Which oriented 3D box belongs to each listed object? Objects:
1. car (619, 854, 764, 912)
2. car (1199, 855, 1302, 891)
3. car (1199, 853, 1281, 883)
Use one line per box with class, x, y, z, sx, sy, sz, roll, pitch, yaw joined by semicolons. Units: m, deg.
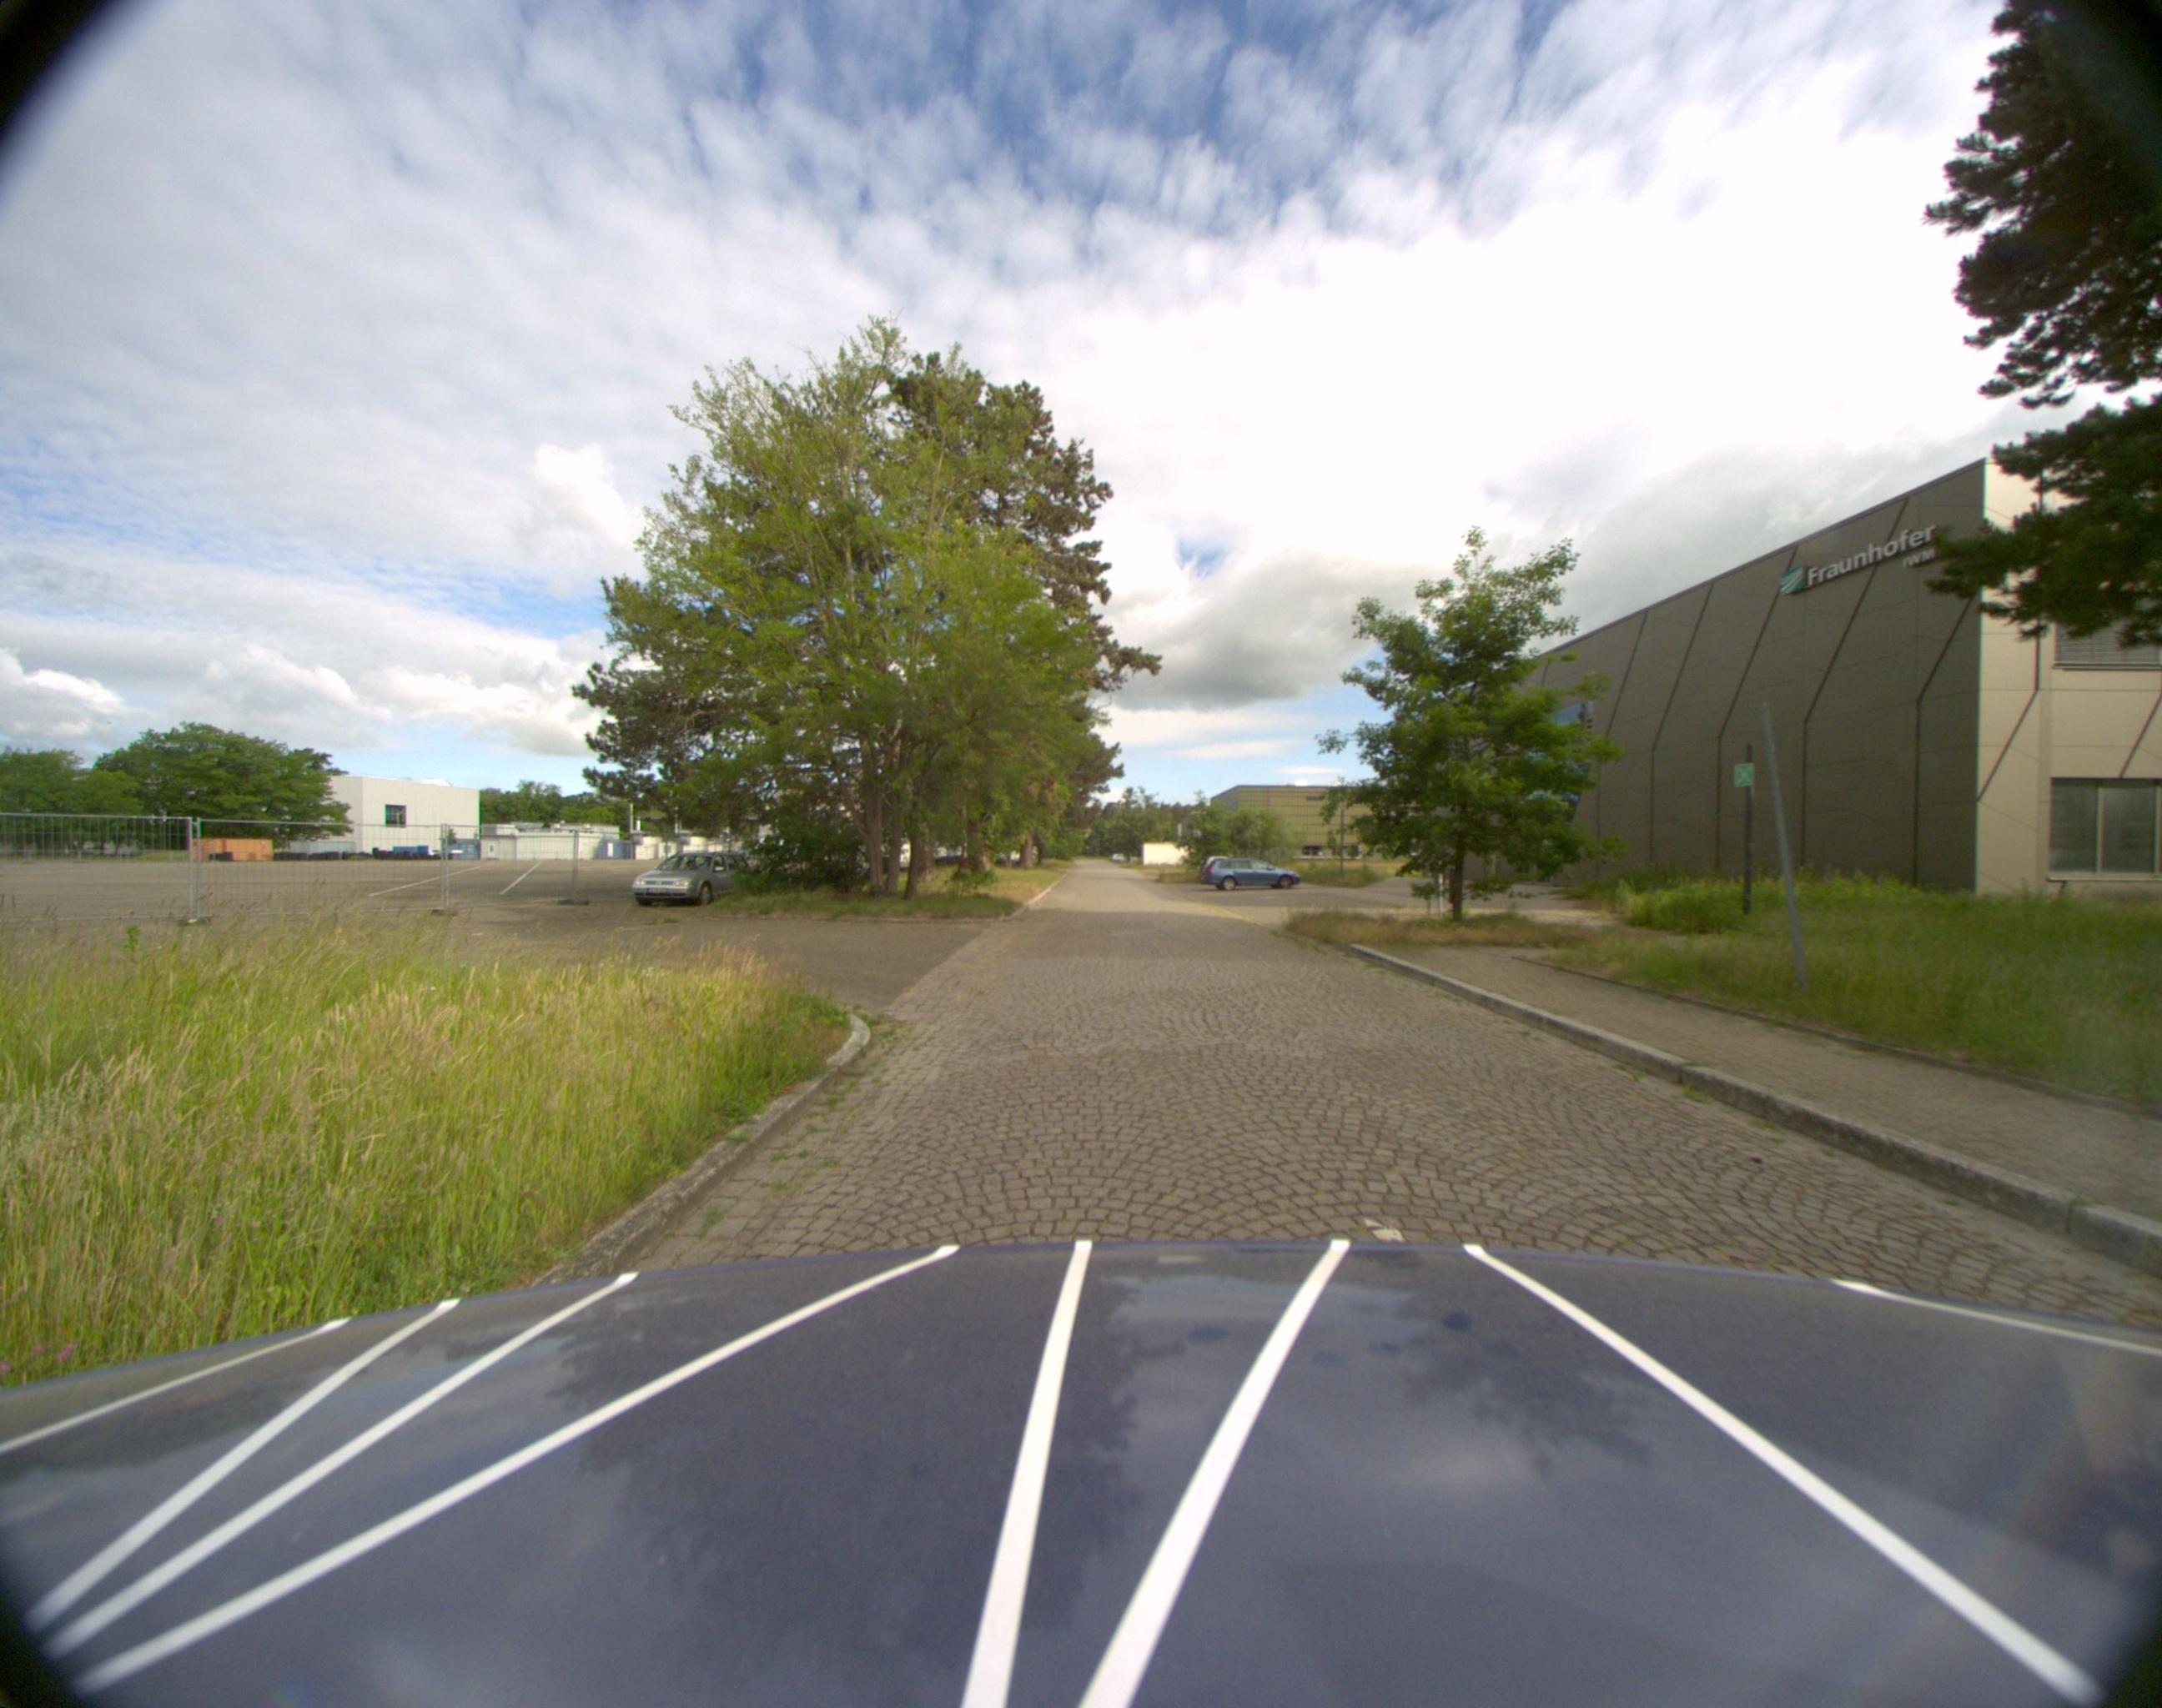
car;-10.758;0.727;21.389;1.759;1.440;4.327;1;0;2
car;7.898;0.880;35.703;4.404;1.501;1.716;-2;1;-2
car;8.945;0.772;43.003;4.400;1.537;1.842;-2;0;7
